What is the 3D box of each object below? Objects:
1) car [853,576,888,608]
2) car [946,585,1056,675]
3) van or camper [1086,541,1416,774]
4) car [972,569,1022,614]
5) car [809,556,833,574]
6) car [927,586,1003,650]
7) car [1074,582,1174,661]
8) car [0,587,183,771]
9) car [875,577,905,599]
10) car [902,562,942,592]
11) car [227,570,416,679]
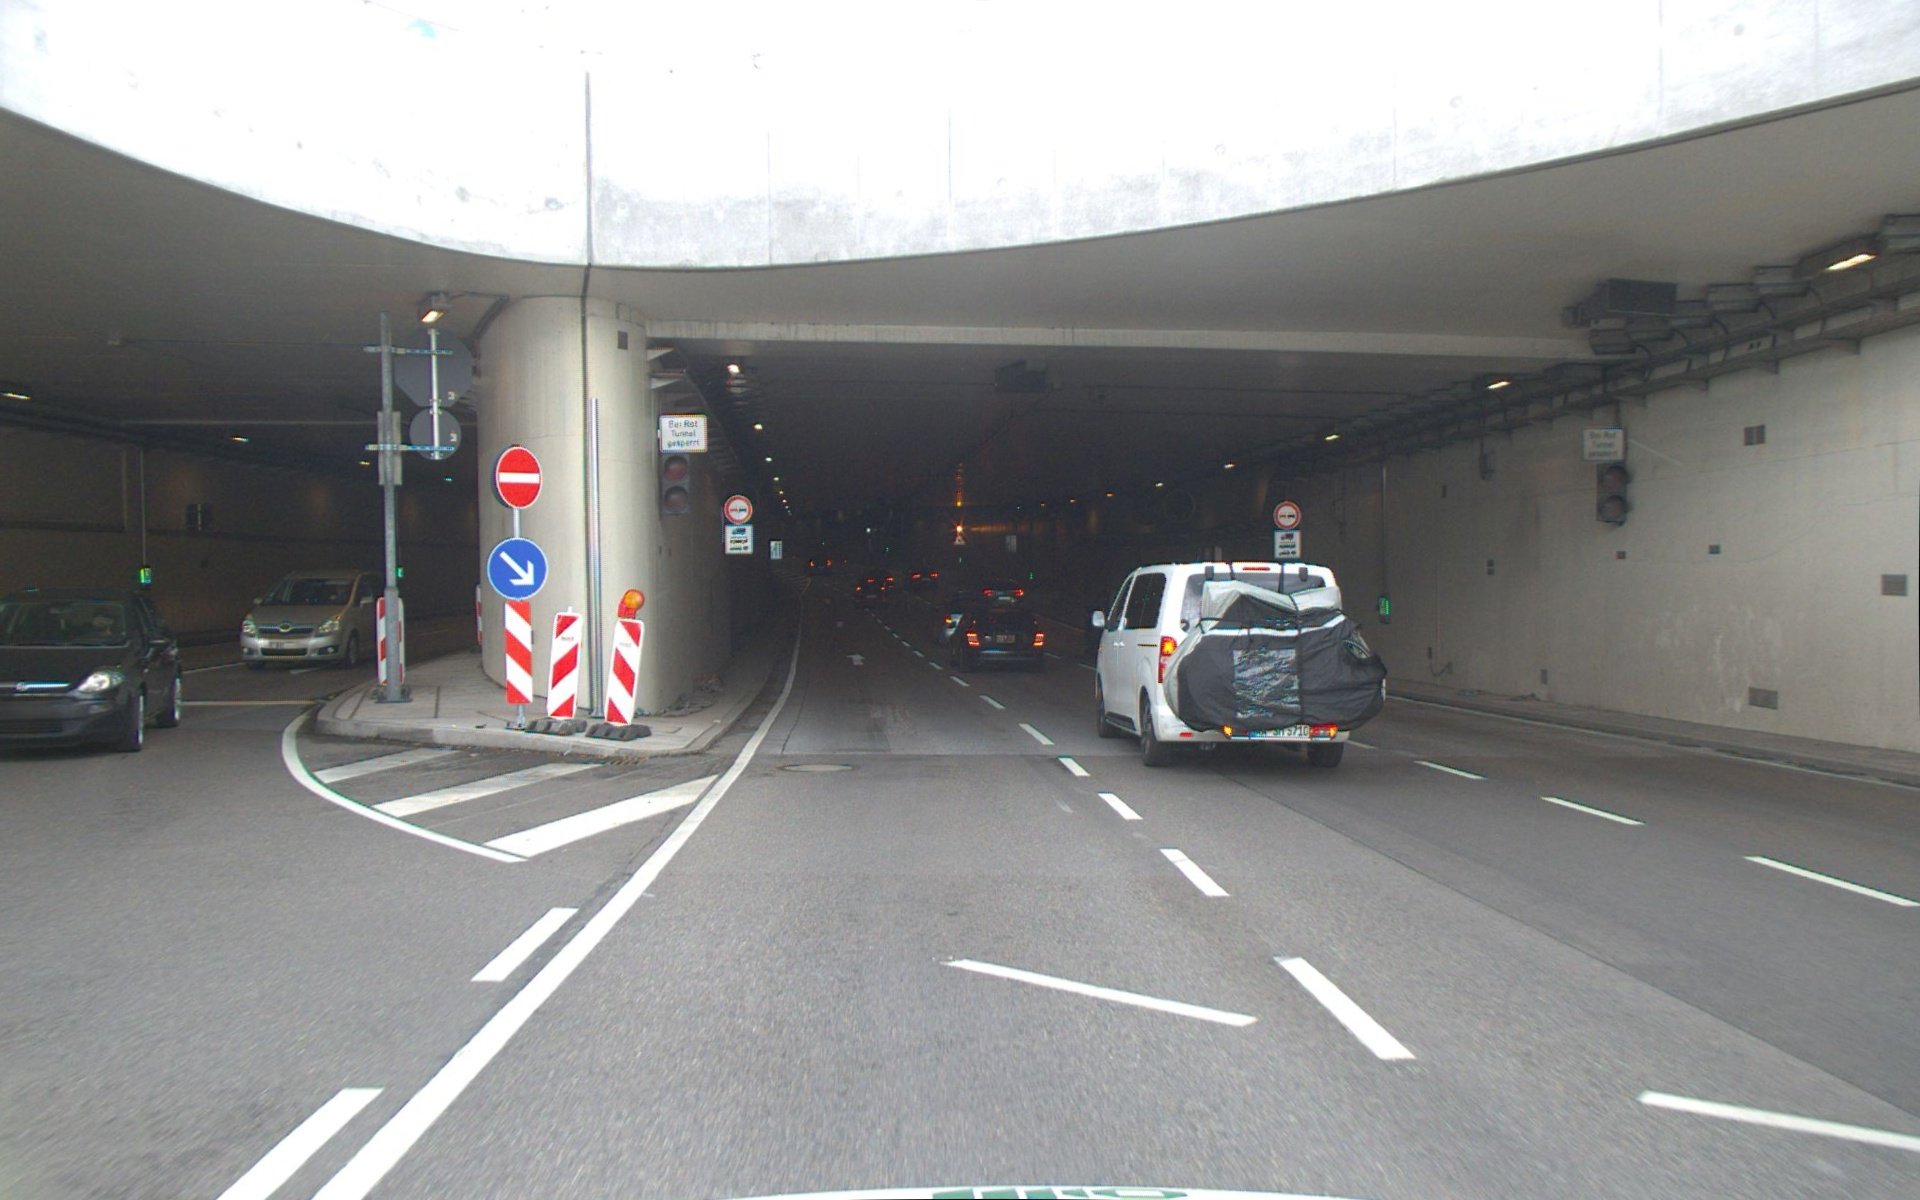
[{"bbox_3d":[-4.379,-0.372,80.681,1.627,1.514,3.564,0,0,-5],"label":"car"},{"bbox_3d":[0.800,0.578,34.791,1.784,1.713,3.995,1,1,-6],"label":"car"},{"bbox_3d":[2.605,0.483,16.319,1.954,1.877,5.504,1,0,-4],"label":"van or camper"},{"bbox_3d":[1.525,-0.374,68.835,1.628,1.662,3.564,3,1,-5],"label":"car"},{"bbox_3d":[-10.204,-2.585,121.128,1.481,1.268,3.559,0,1,-9],"label":"car"},{"bbox_3d":[0.098,0.483,47.858,1.783,1.607,3.997,3,1,-5],"label":"car"},{"bbox_3d":[4.165,0.515,42.562,1.783,1.779,3.997,3,1,-5],"label":"car"},{"bbox_3d":[-8.517,0.647,15.828,1.640,1.466,4.087,-1,1,-21],"label":"car"},{"bbox_3d":[-4.048,-0.676,95.597,1.631,1.269,3.564,0,0,-5],"label":"car"},{"bbox_3d":[-2.318,-1.351,99.037,1.952,1.705,4.501,0,0,-7],"label":"car"},{"bbox_3d":[-10.922,0.337,28.666,1.773,1.632,4.783,-1,2,-5],"label":"car"}]
